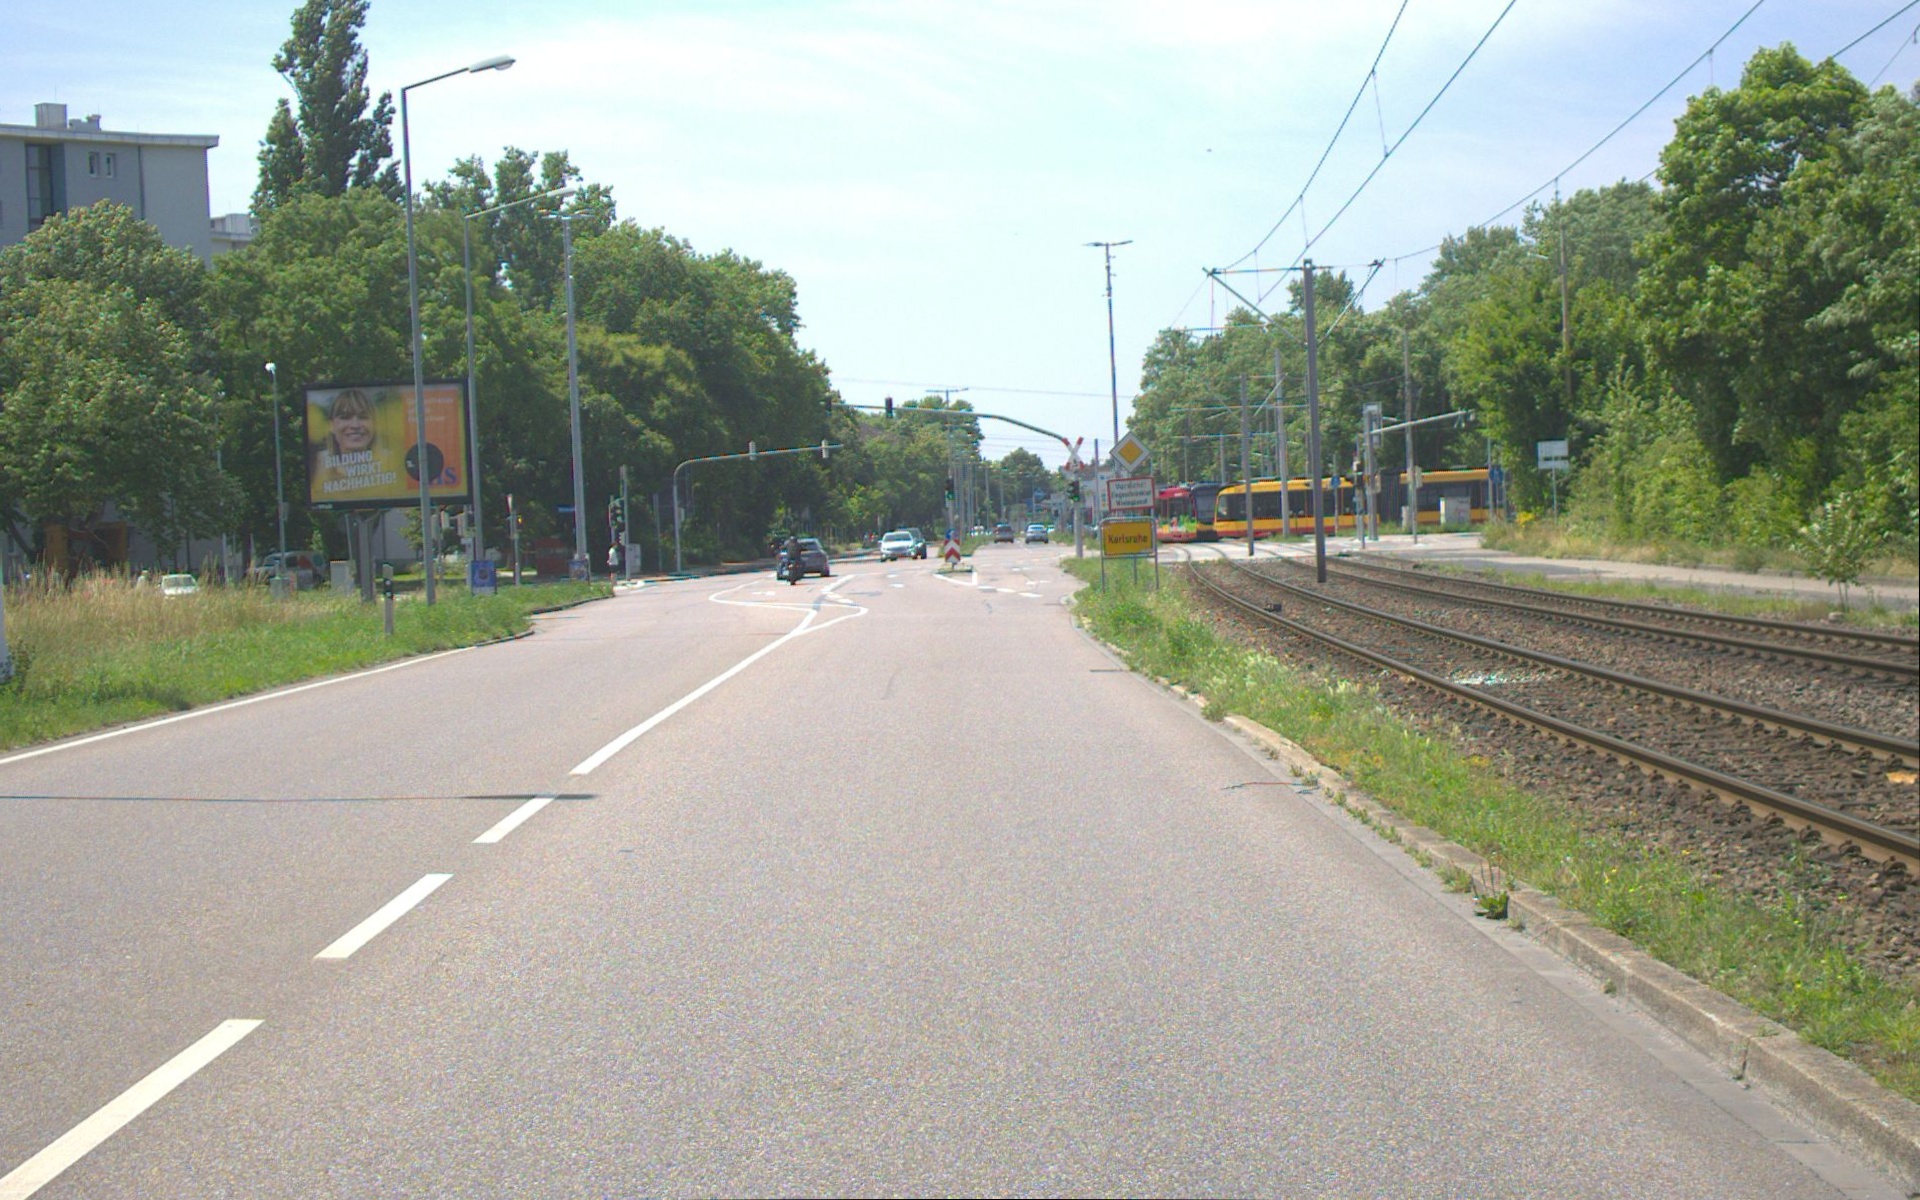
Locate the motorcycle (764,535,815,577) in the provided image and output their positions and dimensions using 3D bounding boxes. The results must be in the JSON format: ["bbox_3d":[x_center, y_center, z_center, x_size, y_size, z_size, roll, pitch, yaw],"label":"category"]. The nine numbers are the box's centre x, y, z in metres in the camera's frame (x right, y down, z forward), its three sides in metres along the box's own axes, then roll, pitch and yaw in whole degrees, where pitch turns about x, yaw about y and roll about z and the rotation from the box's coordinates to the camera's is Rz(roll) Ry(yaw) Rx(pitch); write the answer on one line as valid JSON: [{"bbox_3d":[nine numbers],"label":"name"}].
[{"bbox_3d":[-5.347,-1.384,107.842,0.847,1.251,2.447,-1,1,15],"label":"motorcycle"}]

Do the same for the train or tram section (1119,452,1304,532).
[{"bbox_3d":[14.401,-6.158,198.538,2.914,3.799,13.454,0,-2,-34],"label":"train or tram section"}]

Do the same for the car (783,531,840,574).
[{"bbox_3d":[-5.329,-1.729,123.668,1.906,1.493,4.630,-1,1,-1],"label":"car"}]

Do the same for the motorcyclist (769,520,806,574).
[{"bbox_3d":[-5.414,-1.666,107.769,0.790,1.637,1.210,-1,1,15],"label":"motorcyclist"}]

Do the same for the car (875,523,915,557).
[{"bbox_3d":[-3.282,-3.058,174.357,1.784,1.623,3.865,-3,1,1],"label":"car"}]

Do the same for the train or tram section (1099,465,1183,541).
[{"bbox_3d":[10.931,-5.809,208.868,2.913,3.799,13.076,-1,-2,-6],"label":"train or tram section"}]

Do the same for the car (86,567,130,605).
[{"bbox_3d":[-34.901,-0.575,140.727,1.617,1.459,4.001,-2,1,-15],"label":"car"}]

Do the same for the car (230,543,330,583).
[{"bbox_3d":[-33.027,-1.797,167.146,1.790,1.762,4.538,-2,2,41],"label":"car"}]

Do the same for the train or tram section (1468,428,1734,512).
[{"bbox_3d":[34.640,-7.033,186.285,13.923,3.906,2.922,-2,-2,9],"label":"train or tram section"}]

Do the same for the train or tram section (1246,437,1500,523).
[{"bbox_3d":[22.811,-6.615,190.758,14.022,3.906,2.918,-2,-2,33],"label":"train or tram section"}]
